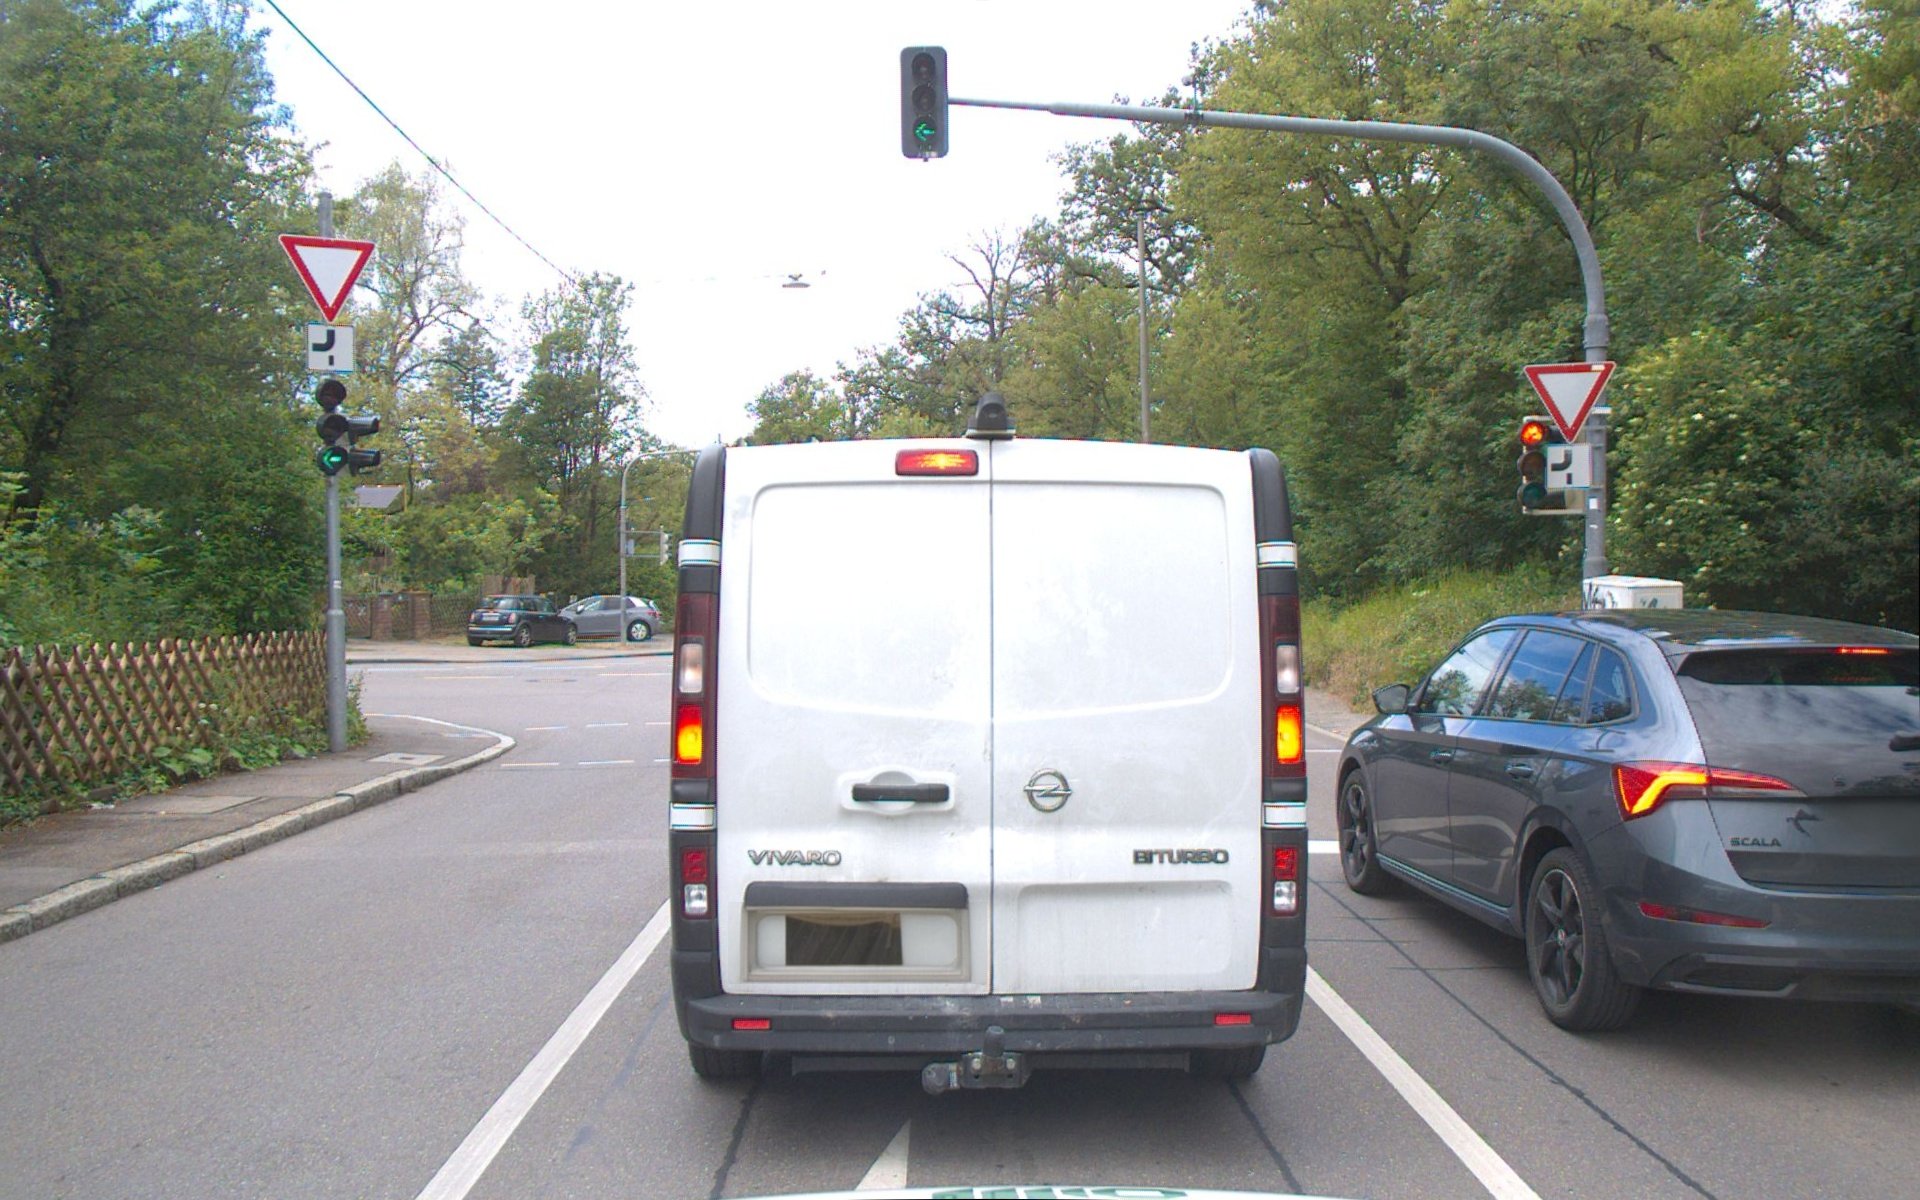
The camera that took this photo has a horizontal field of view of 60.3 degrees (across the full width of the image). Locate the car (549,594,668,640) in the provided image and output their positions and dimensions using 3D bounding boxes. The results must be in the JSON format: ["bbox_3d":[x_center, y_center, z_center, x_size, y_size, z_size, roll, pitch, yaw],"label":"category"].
[{"bbox_3d":[-12.543,0.579,58.993,4.023,1.580,1.845,0,1,-18],"label":"car"}]

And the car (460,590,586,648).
[{"bbox_3d":[-12.019,0.501,45.695,1.662,1.474,3.544,2,0,19],"label":"car"}]

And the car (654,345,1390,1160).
[{"bbox_3d":[0.057,0.395,6.617,1.878,2.089,4.611,1,0,-3],"label":"car"}]

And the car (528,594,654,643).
[{"bbox_3d":[-12.482,0.591,55.957,4.023,1.580,1.845,0,1,-18],"label":"car"}]

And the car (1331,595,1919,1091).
[{"bbox_3d":[2.961,0.725,7.022,1.756,1.476,3.999,0,0,-2],"label":"car"}]
